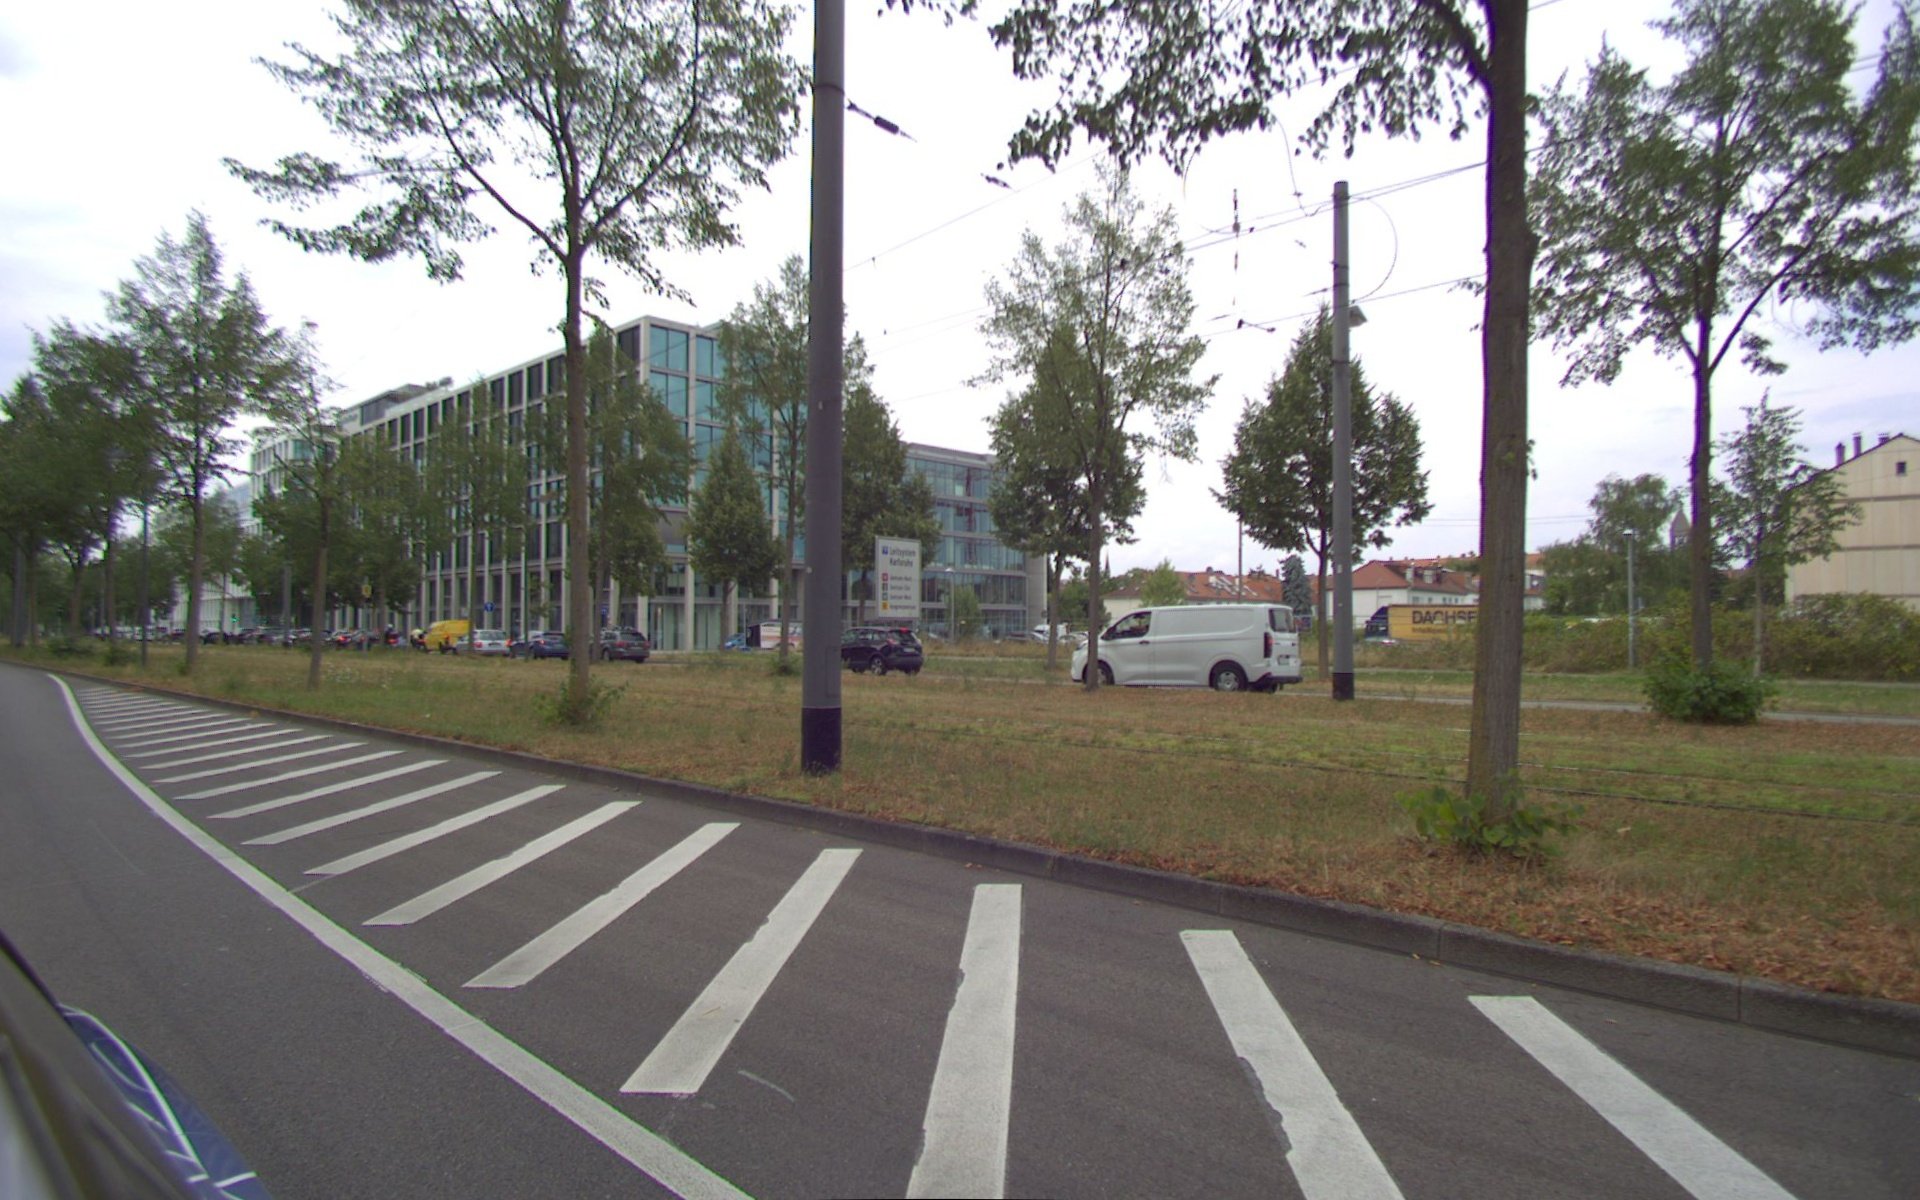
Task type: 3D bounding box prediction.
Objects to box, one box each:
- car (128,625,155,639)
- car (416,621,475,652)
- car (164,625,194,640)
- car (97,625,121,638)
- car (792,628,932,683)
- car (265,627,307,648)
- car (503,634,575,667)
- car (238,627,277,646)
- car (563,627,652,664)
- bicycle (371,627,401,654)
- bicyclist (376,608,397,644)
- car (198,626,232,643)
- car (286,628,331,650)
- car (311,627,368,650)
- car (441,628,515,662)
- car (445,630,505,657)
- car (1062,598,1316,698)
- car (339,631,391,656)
[{"bbox_3d":[-88.990,3.486,110.035,3.865,1.468,1.729,-2,-2,43],"label":"car"},{"bbox_3d":[-30.687,2.177,60.315,1.929,1.785,4.447,2,-2,-44],"label":"car"},{"bbox_3d":[-78.277,3.294,101.436,3.865,1.468,1.729,-2,-2,43],"label":"car"},{"bbox_3d":[-100.401,3.676,119.342,3.865,1.468,1.729,-2,-2,43],"label":"car"},{"bbox_3d":[-3.254,1.760,33.060,4.688,1.669,1.809,-1,-2,40],"label":"car"},{"bbox_3d":[-49.646,2.749,74.574,3.865,1.468,1.729,-2,-2,43],"label":"car"},{"bbox_3d":[-20.399,2.401,48.987,3.864,1.508,1.730,-2,-2,42],"label":"car"},{"bbox_3d":[-54.908,2.841,79.119,3.865,1.468,1.729,-2,-2,43],"label":"car"},{"bbox_3d":[-15.477,1.977,44.329,4.276,1.541,1.731,-1,-2,40],"label":"car"},{"bbox_3d":[-32.840,2.302,57.881,2.356,1.499,0.702,-2,-1,40],"label":"bicycle"},{"bbox_3d":[-32.757,1.487,57.797,0.994,2.029,0.733,-1,0,39],"label":"bicyclist"},{"bbox_3d":[-66.740,3.073,90.612,3.865,1.468,1.729,-2,-2,43],"label":"car"},{"bbox_3d":[-45.283,2.683,70.283,3.865,1.468,1.729,-2,-2,43],"label":"car"},{"bbox_3d":[-39.417,2.432,64.285,3.998,1.429,1.973,-1,-2,41],"label":"car"},{"bbox_3d":[-22.417,2.061,47.040,3.864,1.508,1.730,-2,-2,42],"label":"car"},{"bbox_3d":[-26.556,2.350,55.354,3.866,1.468,1.729,-2,-2,44],"label":"car"},{"bbox_3d":[4.915,1.012,22.163,5.088,1.959,1.975,-1,-2,38],"label":"car"},{"bbox_3d":[-35.731,2.576,60.727,3.866,1.468,1.729,-2,-2,44],"label":"car"}]
